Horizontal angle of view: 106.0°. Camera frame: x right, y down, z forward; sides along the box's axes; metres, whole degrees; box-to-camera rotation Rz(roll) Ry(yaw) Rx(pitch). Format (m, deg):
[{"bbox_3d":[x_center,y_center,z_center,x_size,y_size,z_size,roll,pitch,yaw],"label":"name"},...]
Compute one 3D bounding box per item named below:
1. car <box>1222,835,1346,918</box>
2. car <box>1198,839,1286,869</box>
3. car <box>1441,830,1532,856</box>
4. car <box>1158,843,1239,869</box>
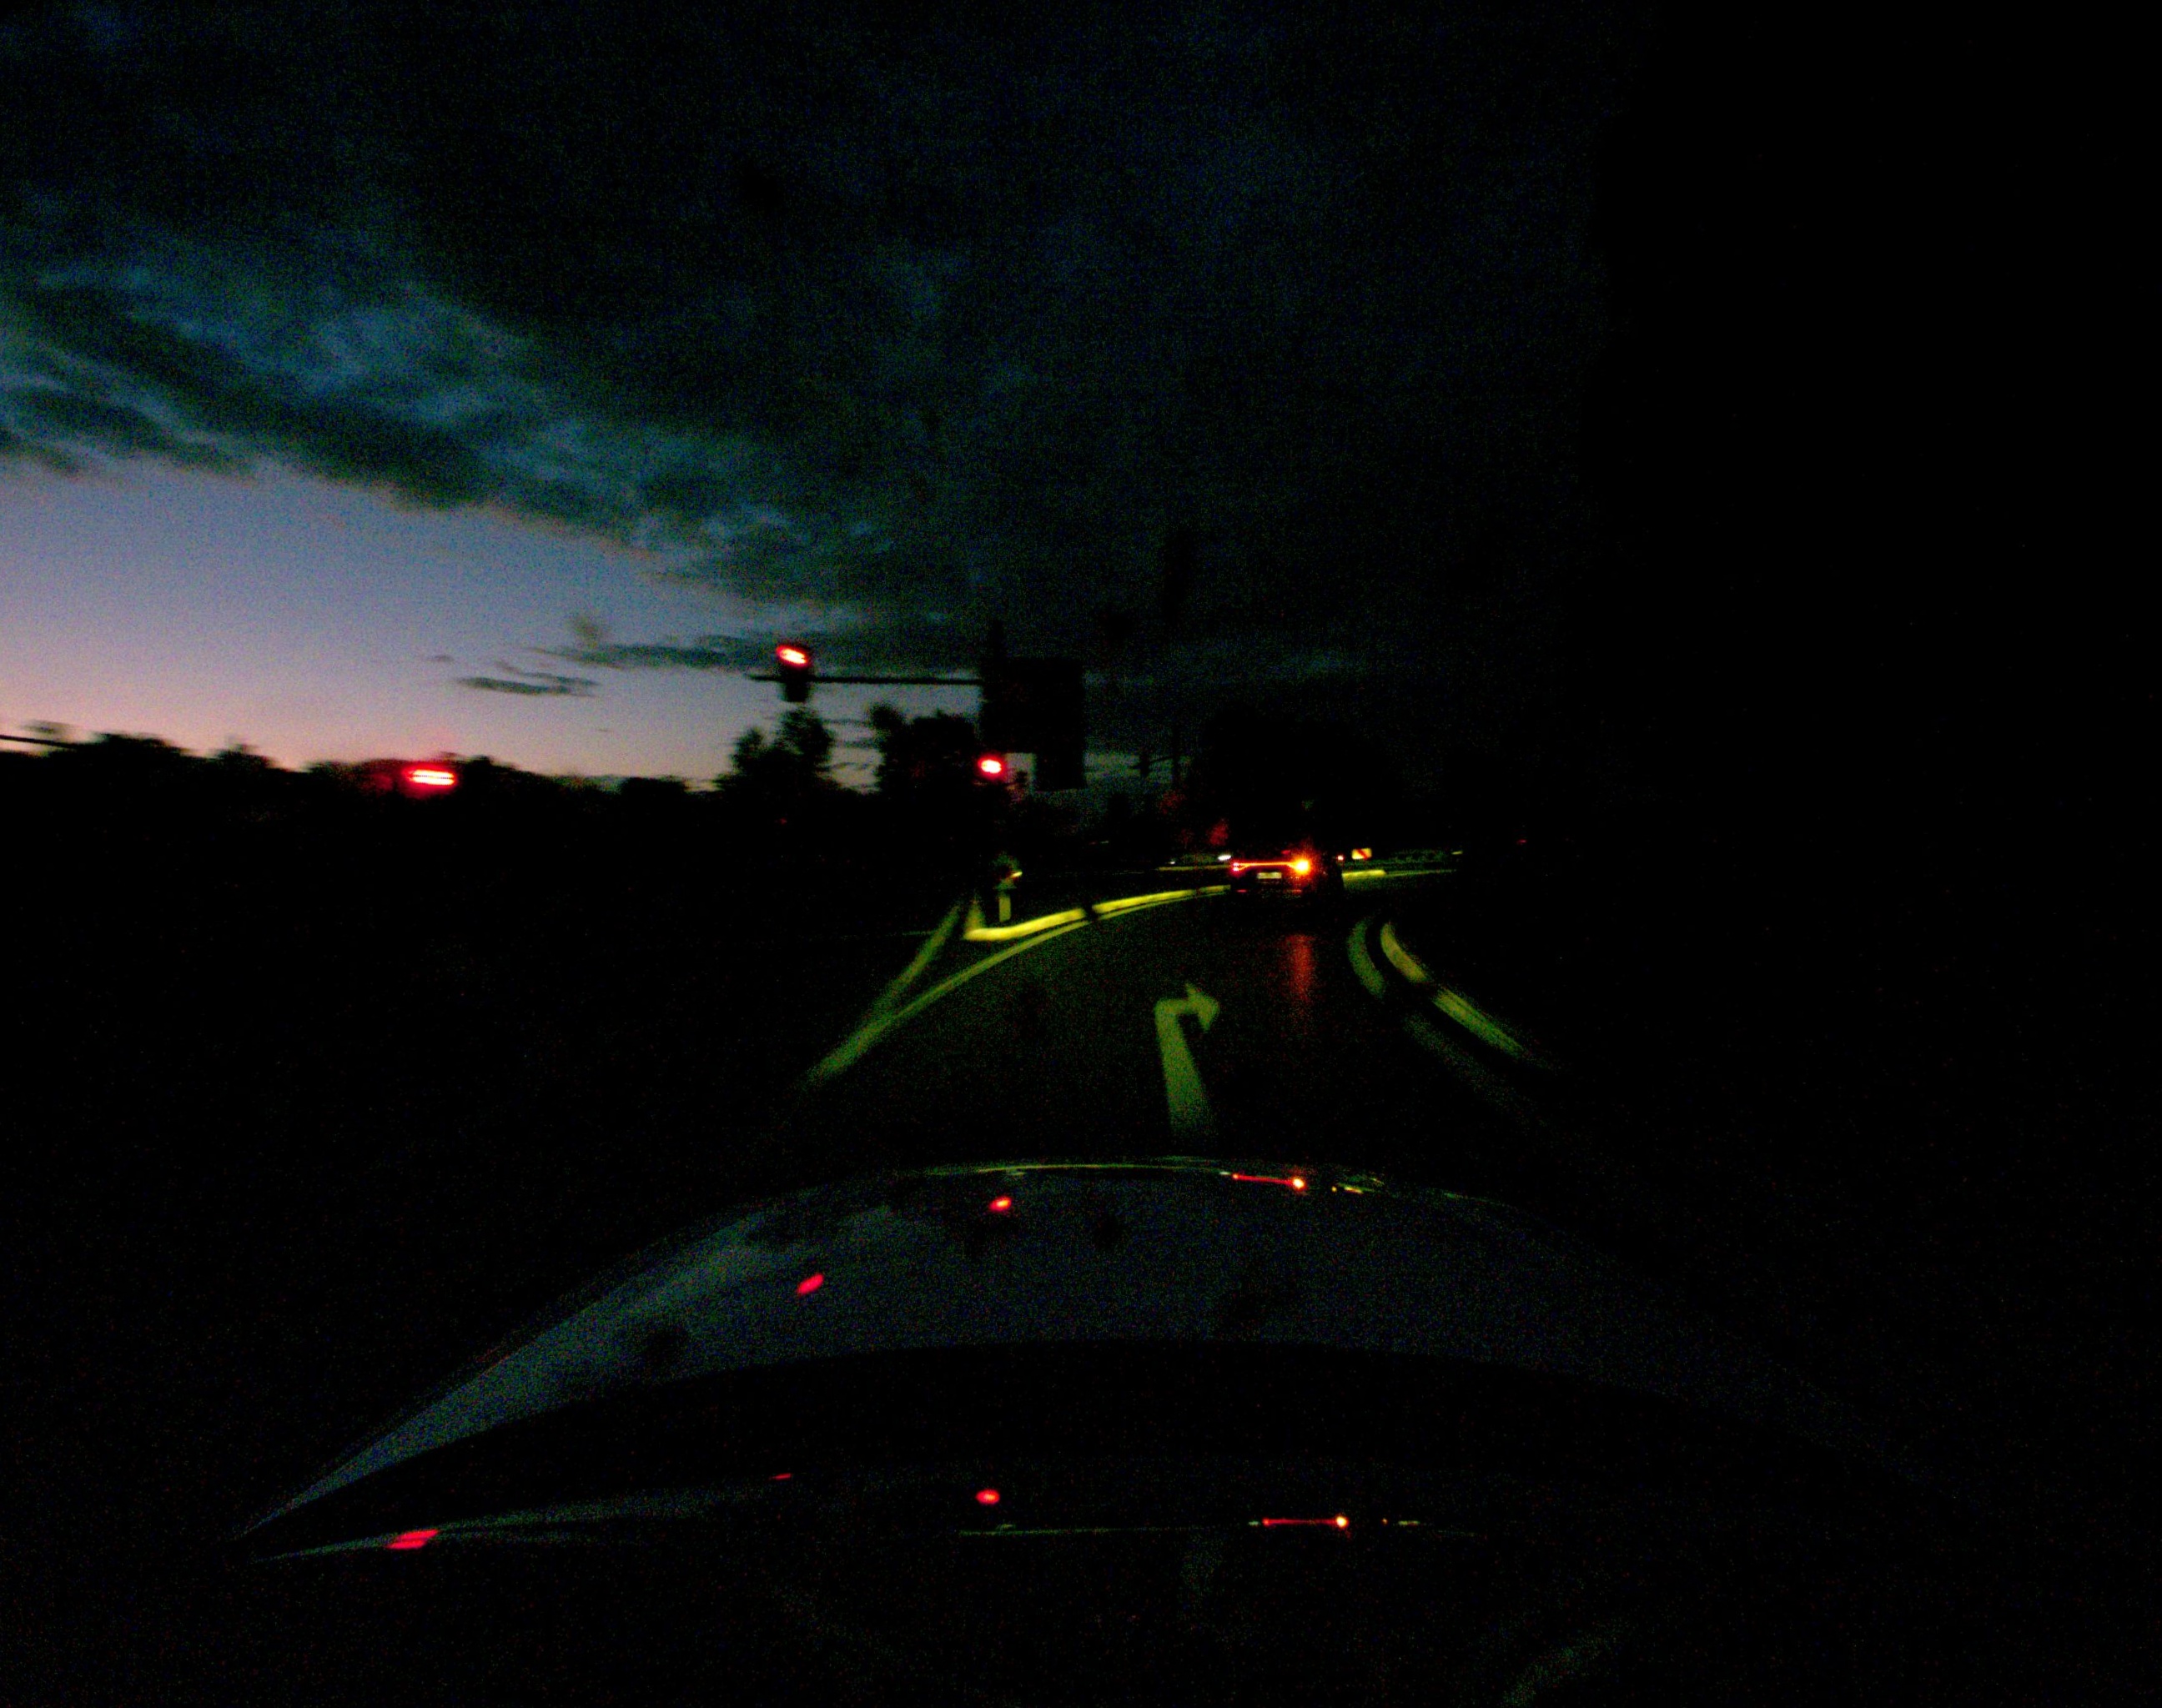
[{"bbox_3d":[4.738,0.406,18.476,1.884,1.619,4.583,0,1,25],"label":"car"},{"bbox_3d":[9.731,0.012,49.271,4.873,1.682,1.987,-1,0,-20],"label":"car"},{"bbox_3d":[25.081,-0.678,50.393,5.043,1.453,1.988,-2,-1,-17],"label":"car"},{"bbox_3d":[7.522,0.140,52.347,4.733,1.453,1.987,-3,0,-19],"label":"car"}]
